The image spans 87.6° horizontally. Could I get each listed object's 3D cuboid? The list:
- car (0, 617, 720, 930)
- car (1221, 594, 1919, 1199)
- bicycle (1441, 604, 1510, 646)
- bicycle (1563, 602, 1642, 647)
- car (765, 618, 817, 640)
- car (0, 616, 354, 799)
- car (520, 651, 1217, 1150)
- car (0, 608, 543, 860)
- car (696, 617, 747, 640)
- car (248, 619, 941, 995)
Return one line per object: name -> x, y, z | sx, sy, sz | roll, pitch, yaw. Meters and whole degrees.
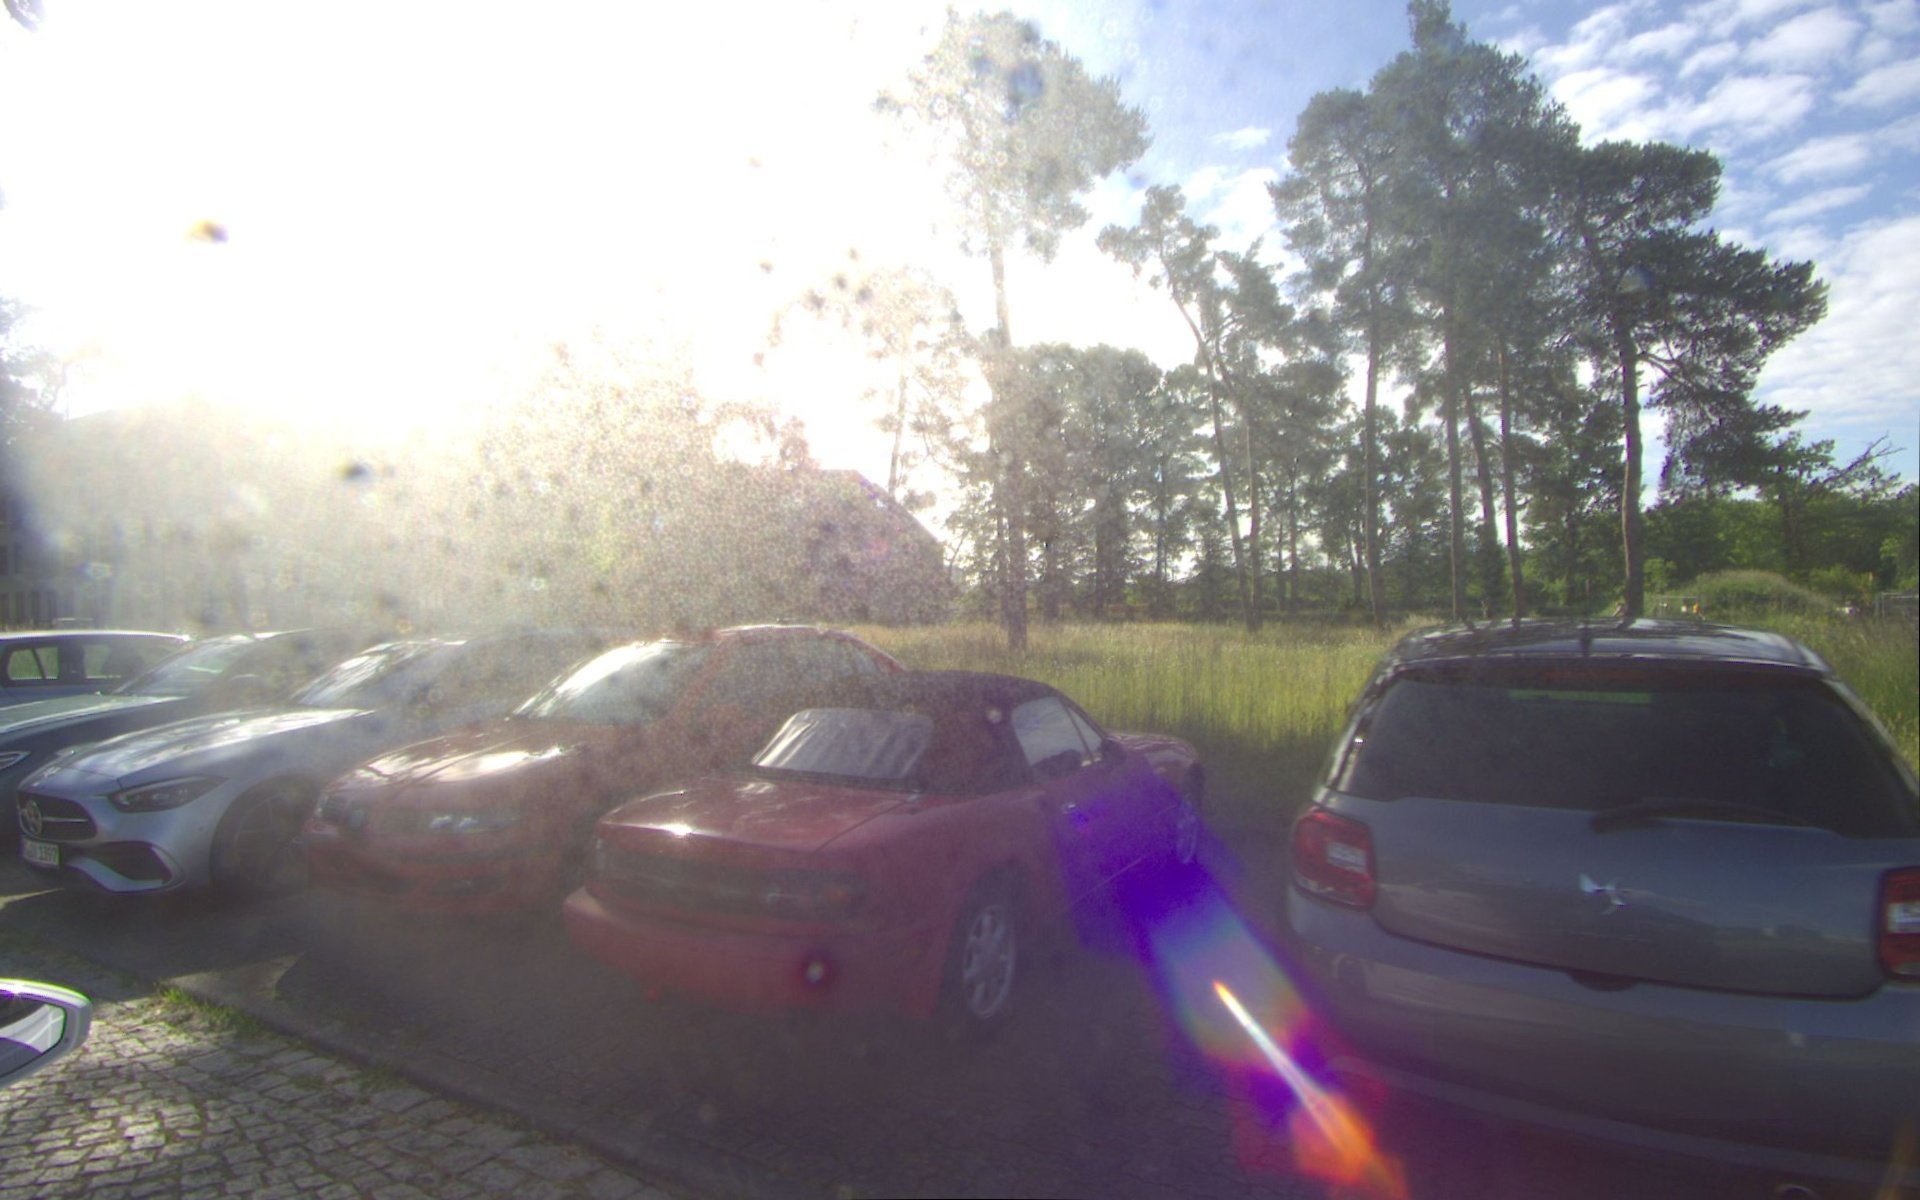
car -> -3.931, 0.899, 7.259 | 1.761, 1.407, 4.393 | -1, 0, 29
car -> 2.306, 0.764, 3.803 | 1.642, 1.474, 3.657 | -1, 1, 30
bicycle -> 26.635, 1.307, 51.799 | 3.084, 2.039, 0.949 | -3, -1, 29
bicycle -> 30.989, 1.202, 48.401 | 3.084, 2.039, 0.949 | -3, -1, 29
car -> -12.186, 2.102, 72.374 | 1.742, 1.517, 3.628 | -1, -1, 32
car -> -8.358, 0.956, 9.932 | 1.640, 1.462, 3.667 | -1, 1, 30
car -> -0.041, 0.927, 4.656 | 1.514, 1.258, 3.456 | -1, -1, 30
car -> -6.170, 0.904, 8.637 | 1.841, 1.475, 4.614 | -1, 1, 27
car -> -18.223, 2.173, 76.758 | 1.742, 1.693, 3.628 | -1, -1, 32
car -> -1.826, 0.903, 6.277 | 1.630, 1.468, 3.974 | -1, 0, 29
